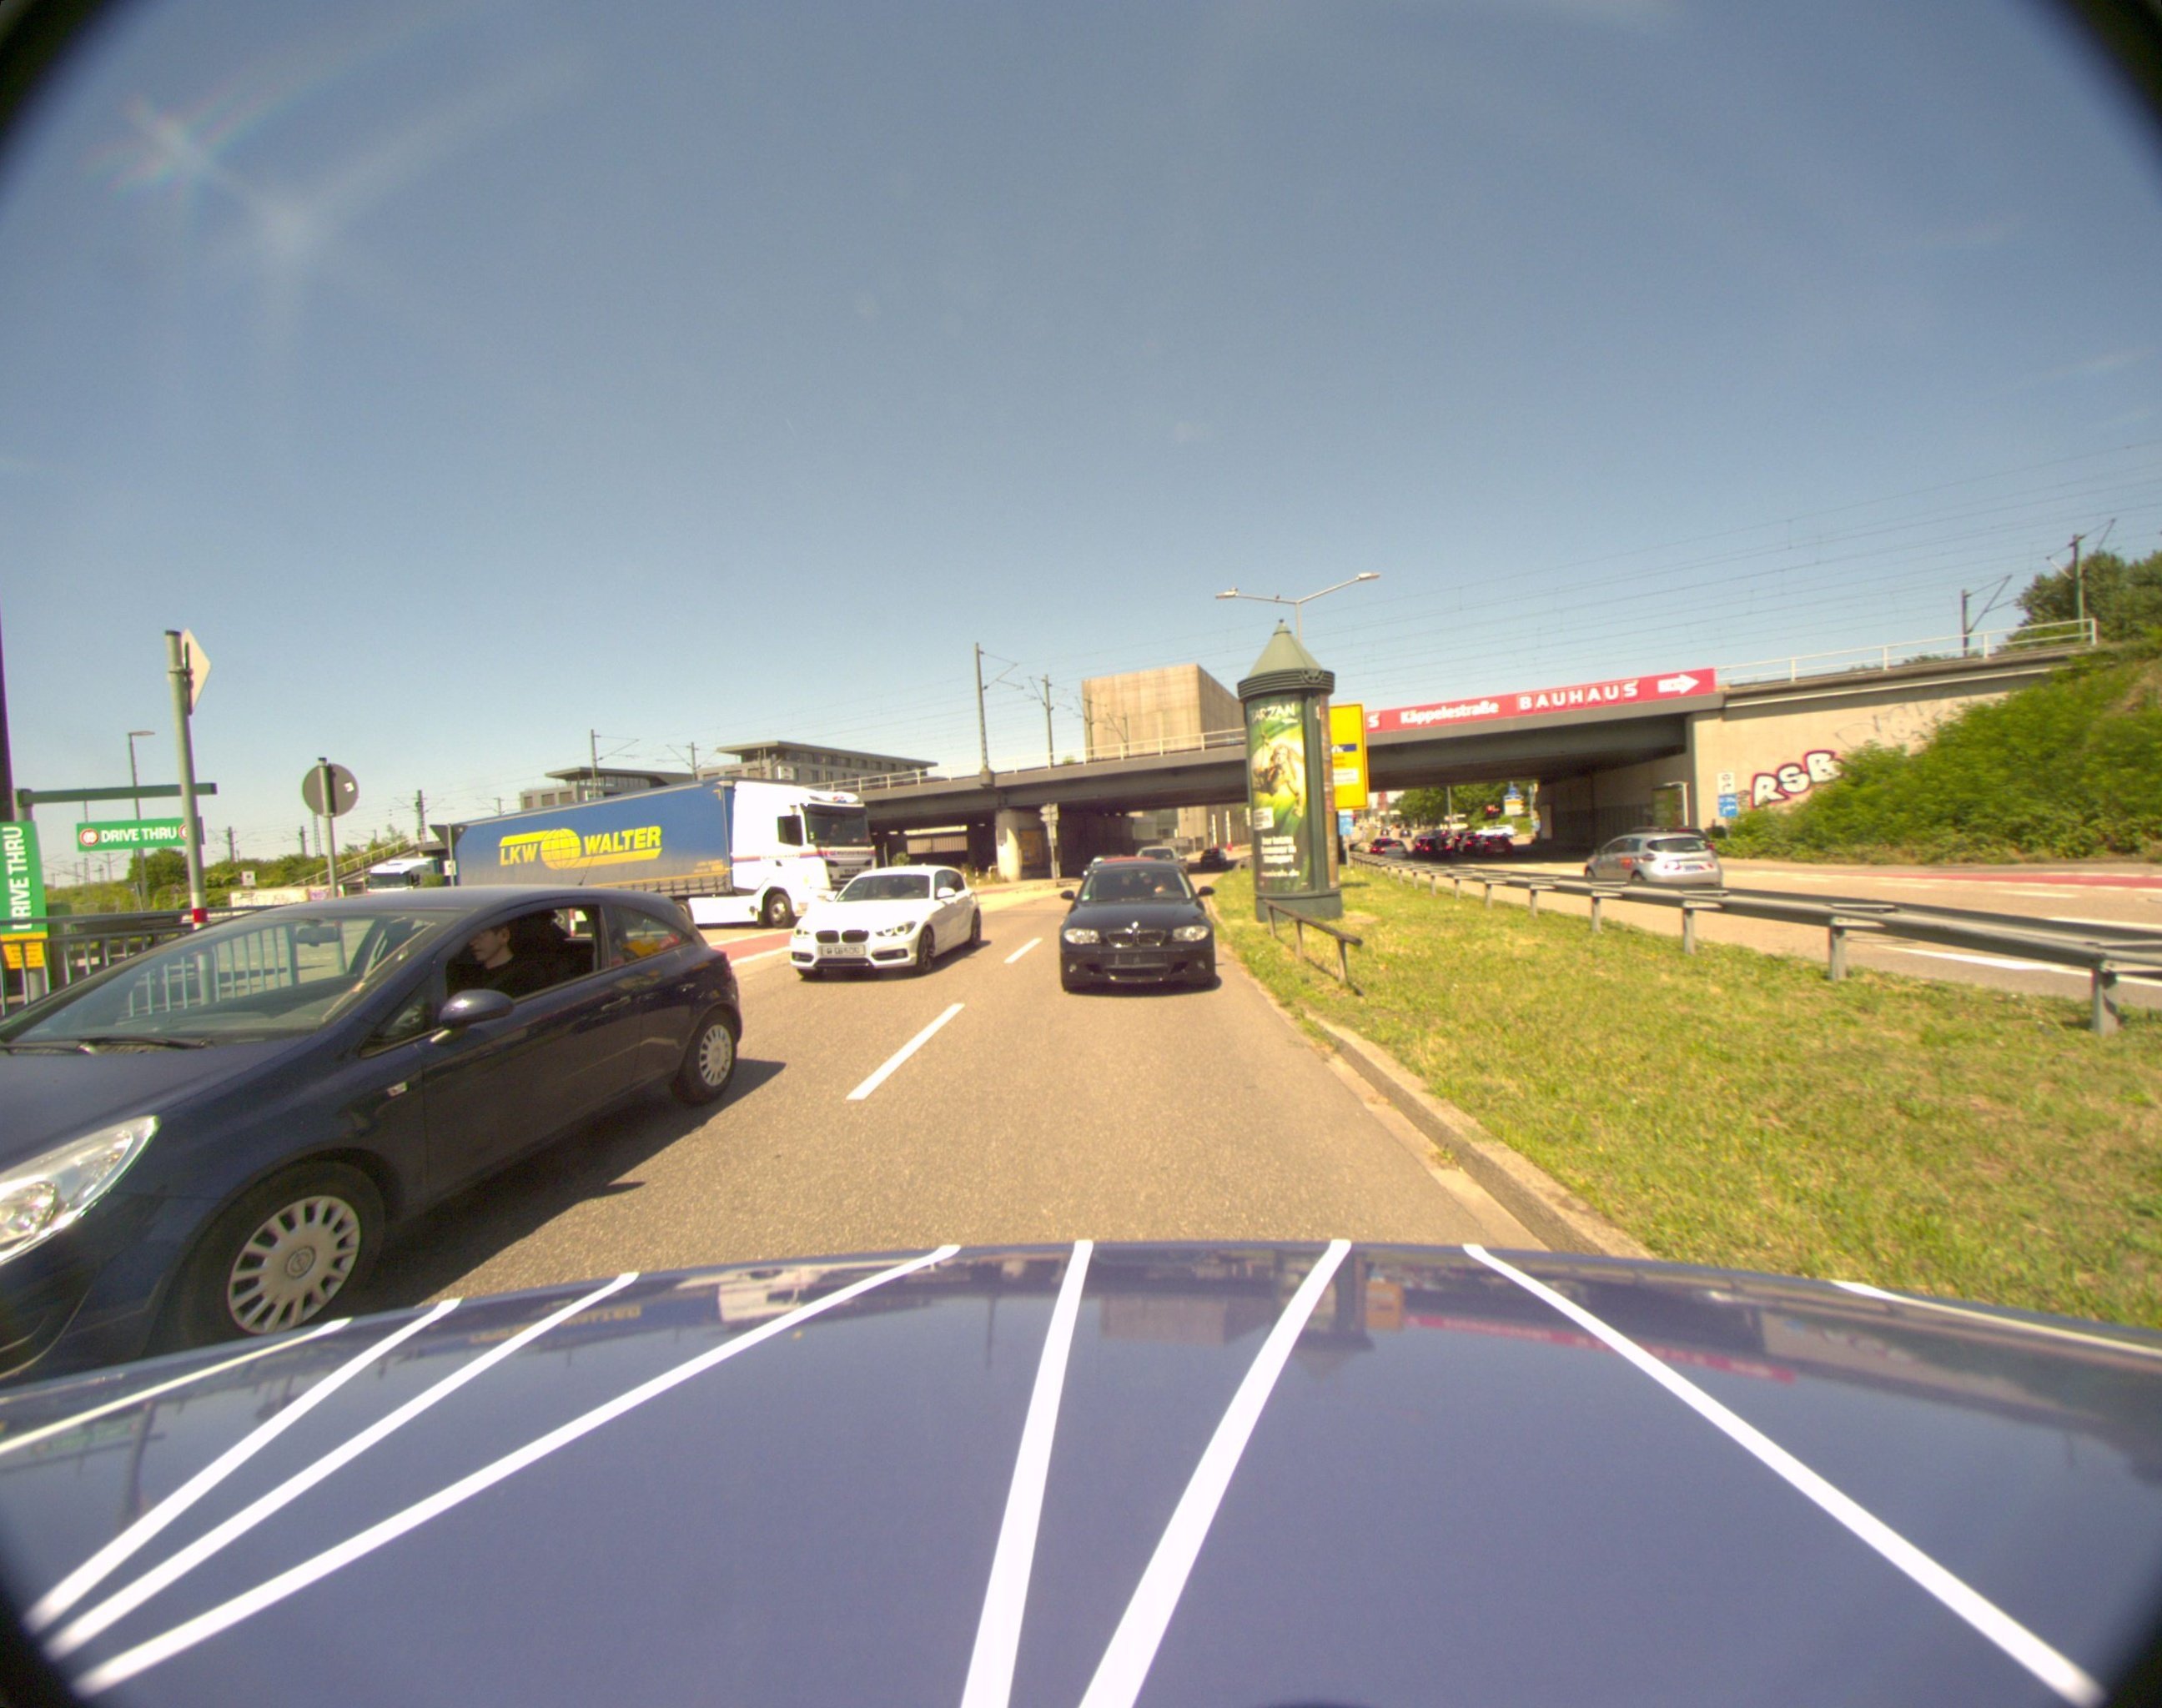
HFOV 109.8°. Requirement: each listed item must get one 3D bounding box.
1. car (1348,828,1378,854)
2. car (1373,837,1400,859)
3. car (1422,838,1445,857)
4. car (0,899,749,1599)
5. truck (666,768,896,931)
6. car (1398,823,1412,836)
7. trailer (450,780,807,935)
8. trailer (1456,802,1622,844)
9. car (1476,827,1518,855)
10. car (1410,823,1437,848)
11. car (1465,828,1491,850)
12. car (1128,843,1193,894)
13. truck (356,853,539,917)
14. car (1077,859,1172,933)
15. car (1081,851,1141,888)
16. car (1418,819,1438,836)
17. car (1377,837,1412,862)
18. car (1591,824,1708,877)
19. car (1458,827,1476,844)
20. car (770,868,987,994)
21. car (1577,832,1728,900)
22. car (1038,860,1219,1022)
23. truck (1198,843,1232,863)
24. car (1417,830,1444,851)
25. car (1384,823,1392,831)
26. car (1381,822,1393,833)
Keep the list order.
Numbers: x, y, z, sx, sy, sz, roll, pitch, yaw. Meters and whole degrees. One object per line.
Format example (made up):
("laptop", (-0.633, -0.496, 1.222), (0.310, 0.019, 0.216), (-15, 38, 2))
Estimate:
("car", (21.580, -1.002, 58.091), (1.904, 1.849, 4.006), (-2, 1, 23))
("car", (20.662, -0.426, 51.315), (1.410, 1.311, 3.266), (-2, 1, 26))
("car", (23.590, -0.456, 50.820), (1.268, 1.178, 2.782), (-2, 1, 27))
("car", (-3.289, 1.062, 3.417), (1.650, 1.435, 3.892), (-3, 0, 3))
("truck", (-8.438, -0.037, 21.367), (5.748, 4.078, 2.580), (-2, 1, 25))
("car", (52.143, -3.885, 122.490), (1.836, 2.002, 4.005), (-2, 1, 20))
("trailer", (-14.990, 0.391, 24.402), (13.872, 4.066, 2.504), (-3, 1, 26))
("trailer", (45.154, -2.993, 75.686), (13.861, 3.354, 2.969), (-2, 1, 24))
("car", (26.712, -0.874, 48.887), (1.774, 1.658, 4.020), (-2, 1, 21))
("car", (28.030, -1.531, 62.280), (1.904, 1.849, 4.006), (-2, 1, 23))
("car", (28.439, -1.083, 54.503), (1.571, 1.494, 3.412), (-2, 1, 27))
("car", (3.036, 0.502, 28.441), (1.844, 1.686, 3.703), (-2, 1, 14))
("truck", (-47.848, 2.012, 58.660), (2.753, 4.079, 17.422), (-3, 1, -12))
("car", (1.089, 0.848, 16.977), (1.645, 1.391, 4.055), (-1, 0, 10))
("car", (1.424, 0.681, 34.306), (1.714, 1.434, 4.004), (-2, 1, 17))
("car", (42.425, -3.217, 93.050), (1.995, 2.002, 4.005), (-2, 1, 22))
("car", (18.672, -0.286, 45.415), (1.636, 1.395, 4.227), (-1, 1, 19))
("car", (19.650, -0.145, 26.514), (1.491, 1.623, 4.477), (-3, 0, 12))
("car", (30.746, -1.464, 60.530), (1.183, 1.241, 2.696), (-2, 1, 27))
("car", (-2.762, 0.998, 11.389), (1.762, 1.435, 4.054), (-1, 0, 6))
("car", (14.793, 0.278, 19.951), (1.637, 1.558, 4.076), (-2, 0, 13))
("car", (0.664, 0.870, 9.340), (1.681, 1.409, 4.057), (-3, 1, 6))
("truck", (11.396, -0.107, 64.557), (1.728, 1.493, 4.006), (-2, 1, 27))
("car", (25.921, -1.017, 56.252), (1.617, 1.468, 3.438), (-2, 1, 27))
("car", (78.593, -6.960, 194.511), (1.995, 2.002, 4.005), (-2, 1, 21))
("car", (57.662, -4.926, 143.154), (1.836, 2.002, 4.005), (-2, 1, 20))
